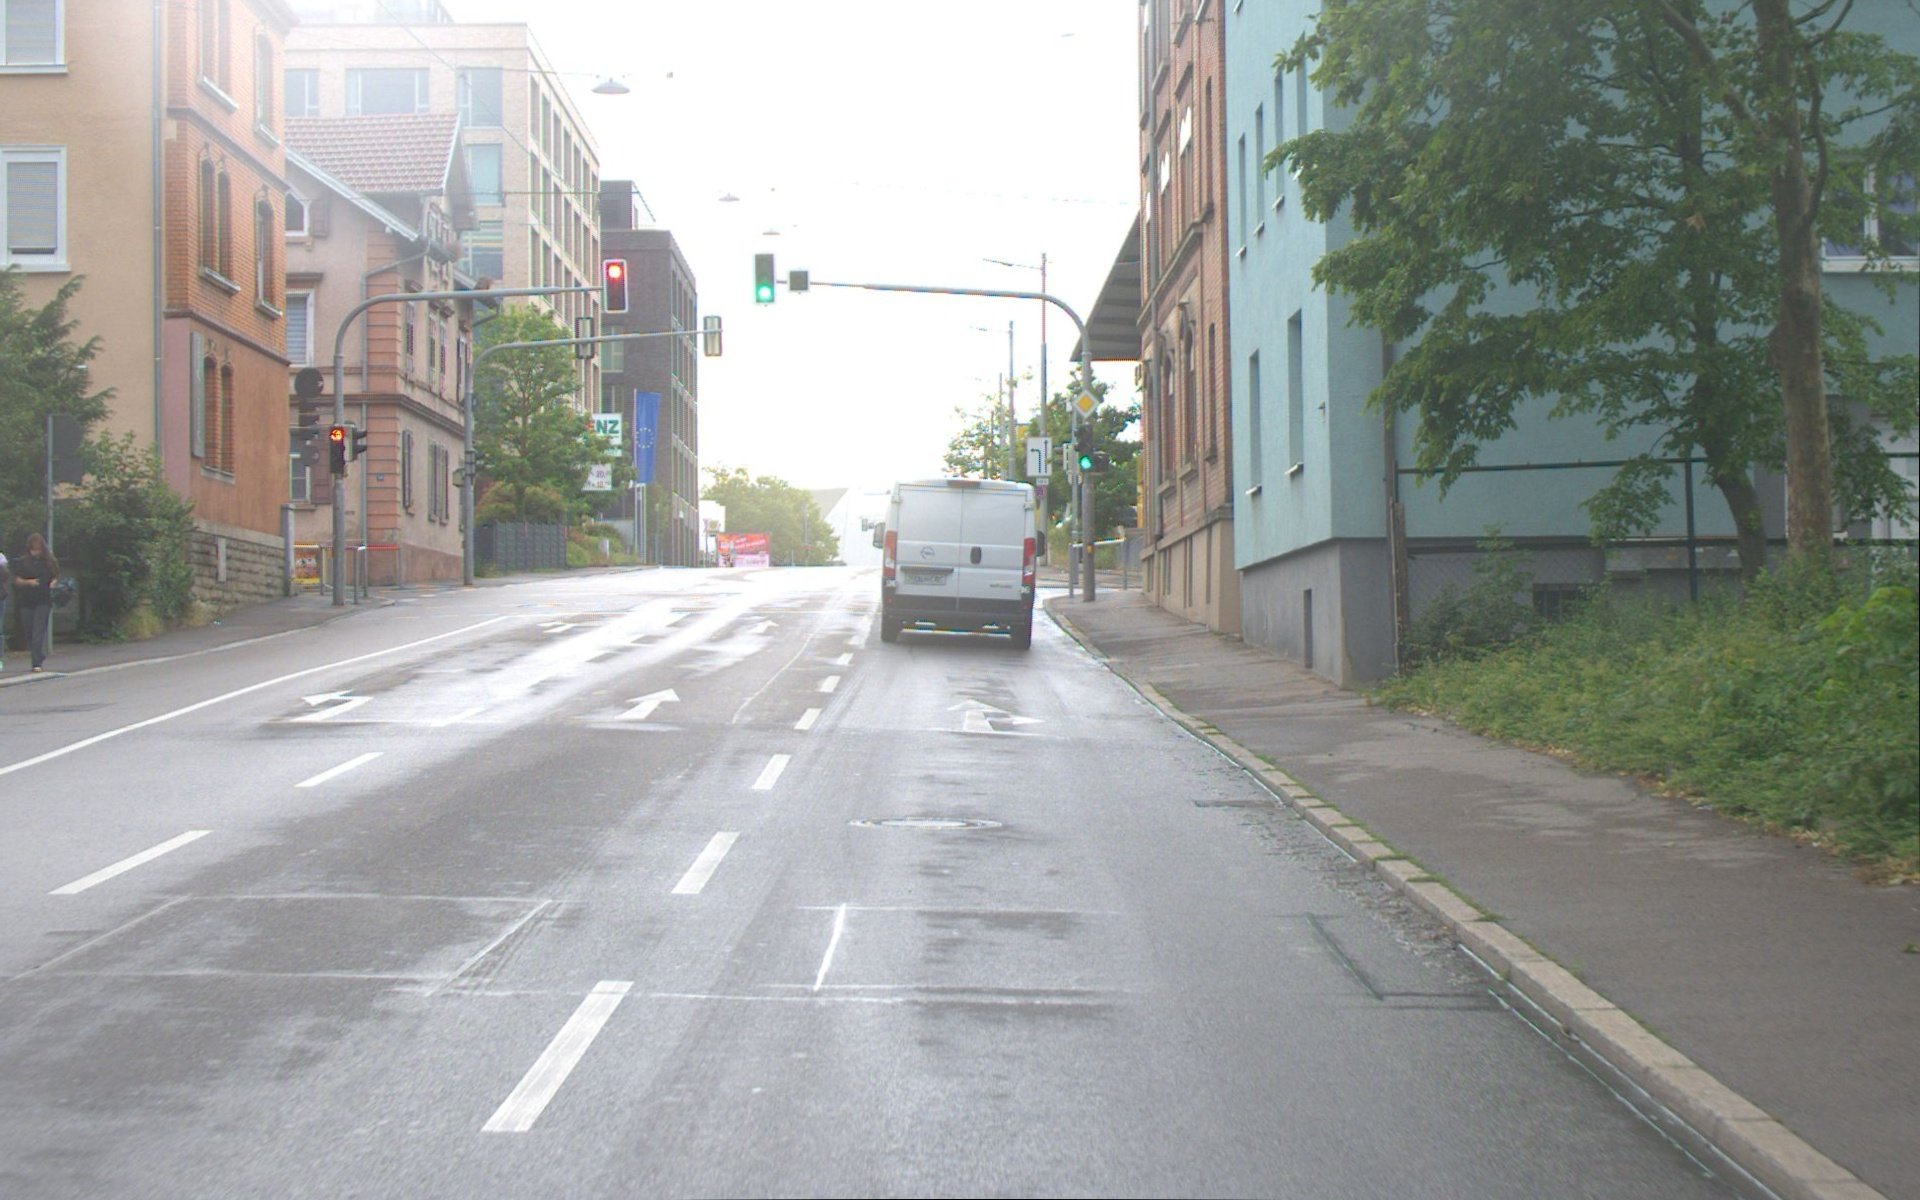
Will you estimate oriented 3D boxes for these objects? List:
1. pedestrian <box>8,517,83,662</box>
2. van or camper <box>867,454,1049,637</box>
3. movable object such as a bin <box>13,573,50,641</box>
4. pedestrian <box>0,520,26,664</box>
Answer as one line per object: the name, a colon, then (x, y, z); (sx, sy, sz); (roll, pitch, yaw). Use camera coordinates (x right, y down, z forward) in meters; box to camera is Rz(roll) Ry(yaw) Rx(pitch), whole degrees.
pedestrian: (-10.905, -0.136, 41.020); (0.640, 1.700, 0.911); (0, 1, 0)
van or camper: (-0.024, -0.735, 47.496); (2.340, 2.349, 5.199); (1, 1, 0)
movable object such as a bin: (-12.807, 0.092, 47.430); (0.409, 0.921, 0.526); (1, 0, -7)
pedestrian: (-11.581, -0.105, 41.000); (0.640, 1.700, 0.911); (0, 1, 0)
